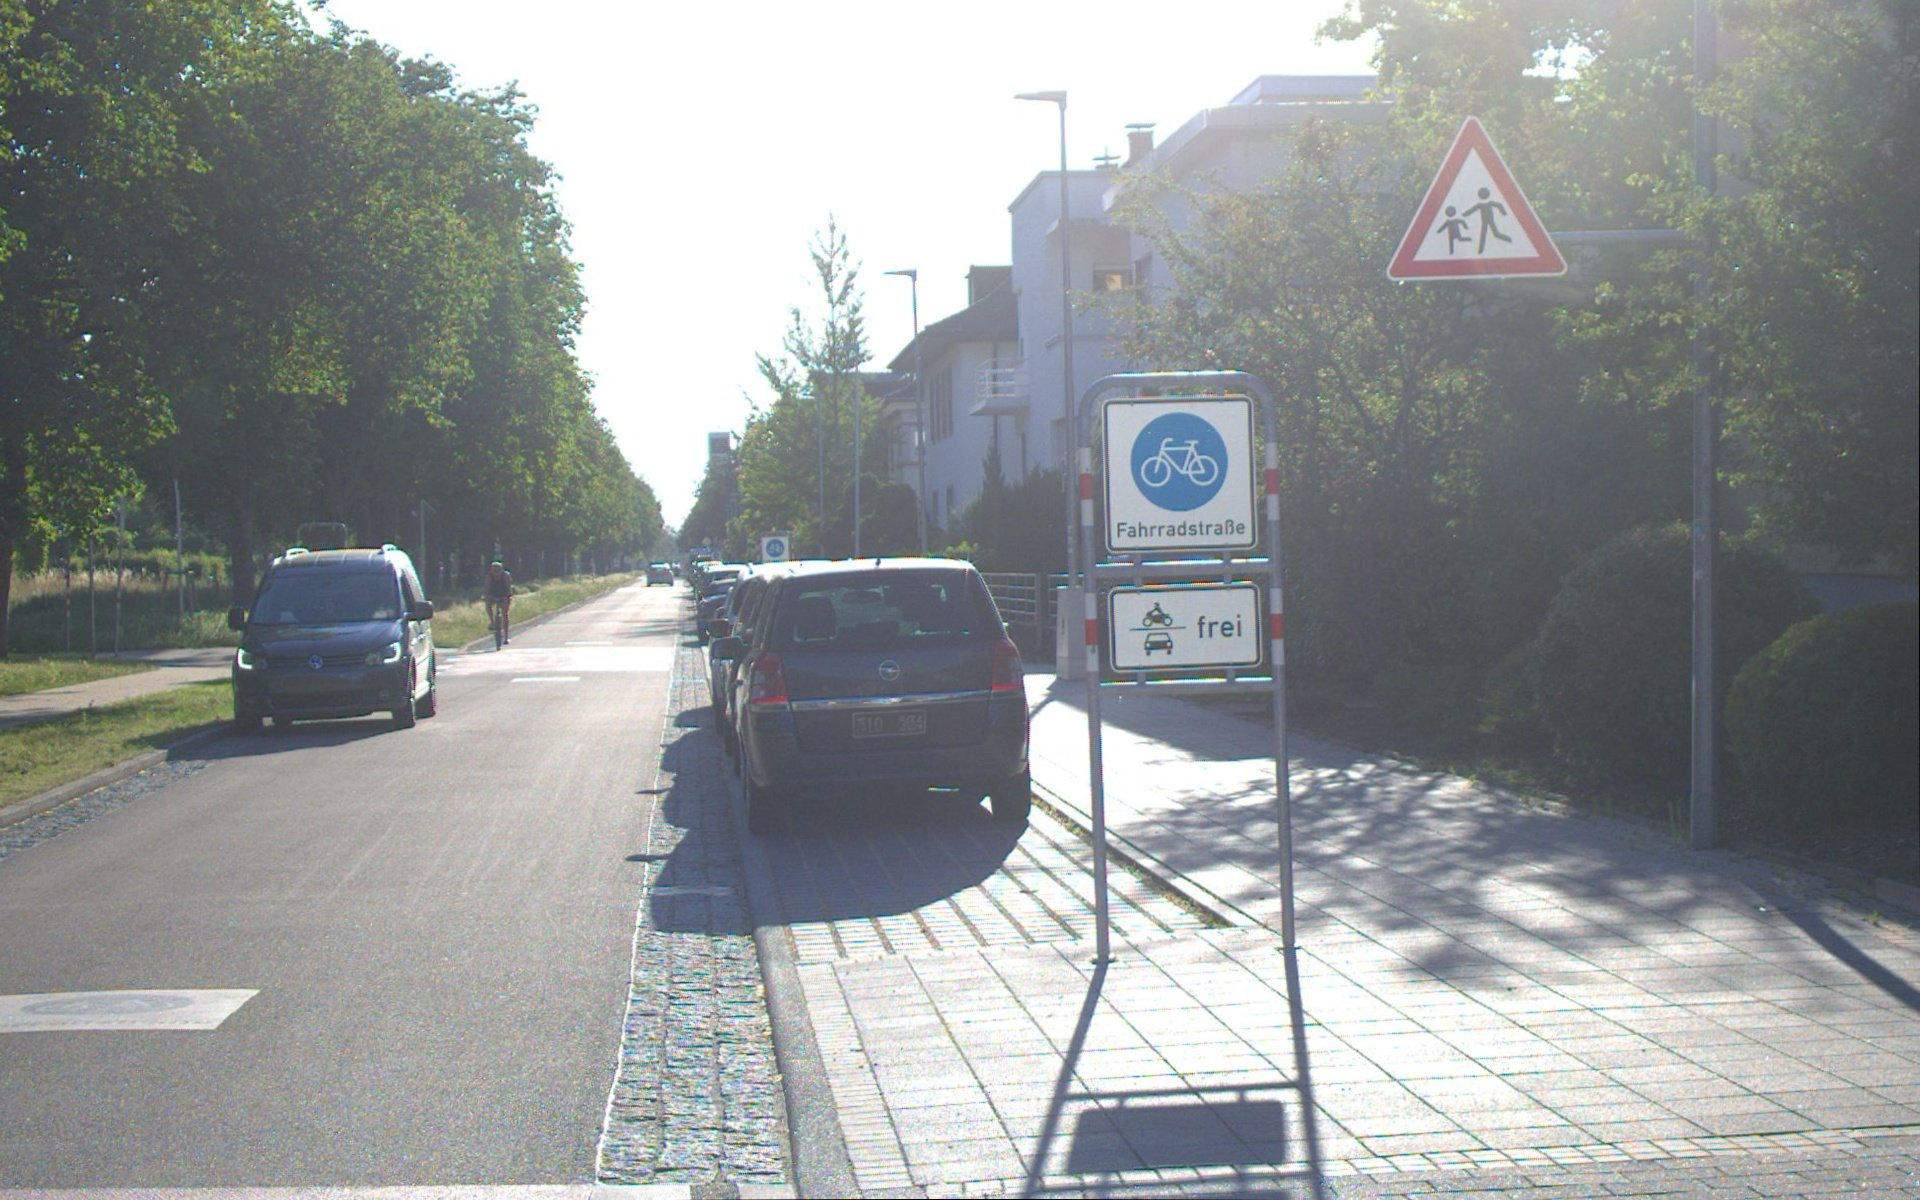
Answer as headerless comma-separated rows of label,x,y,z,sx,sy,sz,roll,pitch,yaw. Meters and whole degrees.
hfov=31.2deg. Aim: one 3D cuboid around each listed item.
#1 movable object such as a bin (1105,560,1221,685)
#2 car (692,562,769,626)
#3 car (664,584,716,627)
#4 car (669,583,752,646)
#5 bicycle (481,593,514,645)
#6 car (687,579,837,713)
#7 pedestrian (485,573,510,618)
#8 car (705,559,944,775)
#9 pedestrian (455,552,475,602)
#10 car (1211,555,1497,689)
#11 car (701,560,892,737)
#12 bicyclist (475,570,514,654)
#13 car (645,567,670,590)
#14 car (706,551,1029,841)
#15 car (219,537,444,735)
movable object such as a bin,2.363,0.257,40.144,1.237,1.427,1.123,0,0,-2
car,-5.838,-0.168,86.969,1.744,1.469,3.923,-4,1,-5
car,-9.689,0.185,123.163,1.736,1.444,4.198,-2,0,-6
car,-5.481,0.298,75.564,1.774,1.284,4.273,0,1,-4
bicycle,-9.400,0.375,69.937,0.556,1.028,1.915,-1,0,-5
car,-2.303,0.481,39.444,1.563,1.385,4.375,-2,1,-4
pedestrian,-16.978,-0.168,126.298,0.783,1.609,0.952,0,1,-1
car,-1.165,0.482,27.805,1.678,1.550,4.145,-2,1,-5
pedestrian,-18.147,-0.842,126.095,0.624,1.825,0.886,0,1,-1
car,4.938,0.267,43.371,3.493,1.636,1.643,0,0,4
car,-1.605,0.422,33.338,1.678,1.550,4.131,-2,1,-3
bicyclist,-9.440,0.243,69.795,0.681,1.667,1.173,-2,0,-5
car,-20.699,-1.466,235.473,1.652,1.536,3.267,0,0,-4
car,-0.687,0.534,22.107,1.710,1.605,4.169,-3,1,-6
car,-6.400,0.344,35.450,1.843,1.841,4.574,-2,0,-6
